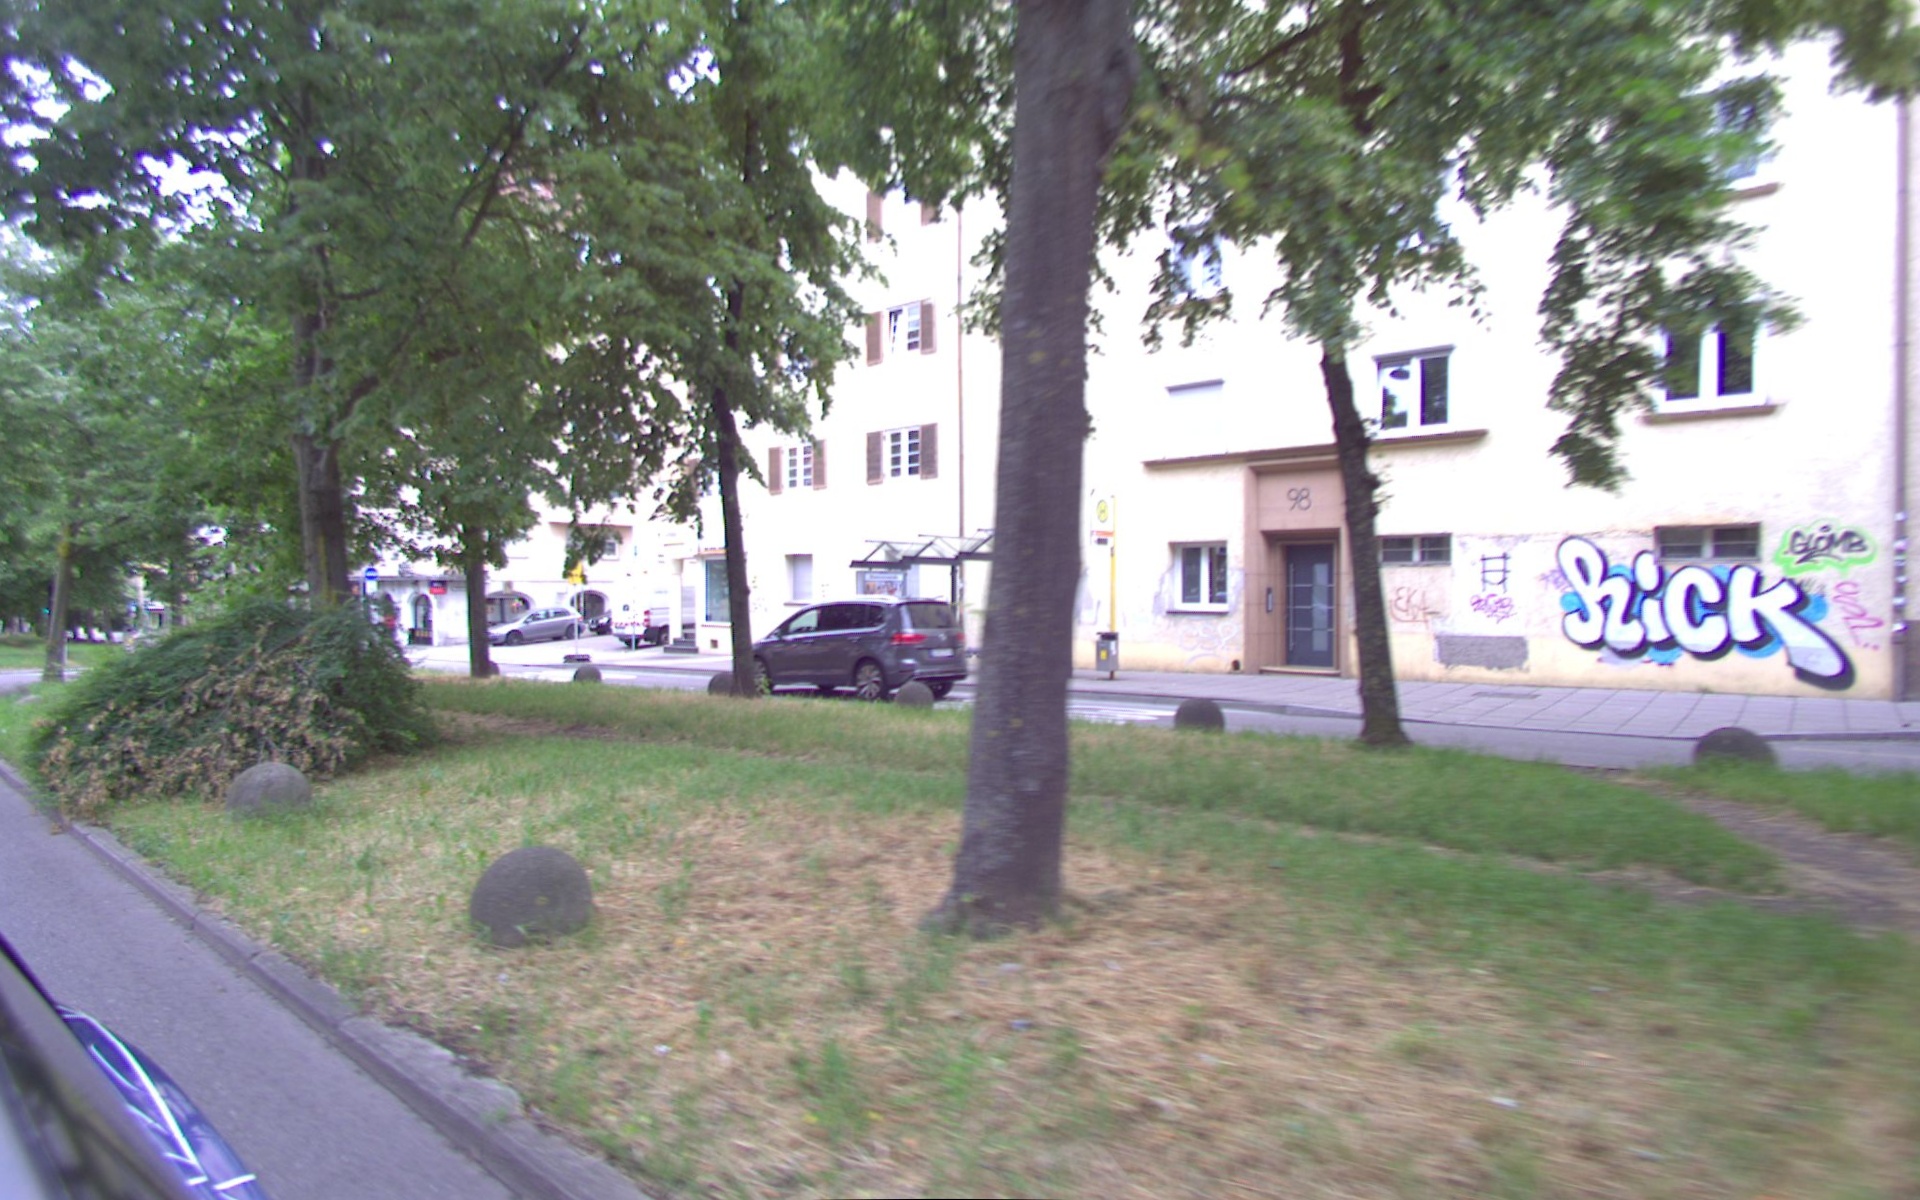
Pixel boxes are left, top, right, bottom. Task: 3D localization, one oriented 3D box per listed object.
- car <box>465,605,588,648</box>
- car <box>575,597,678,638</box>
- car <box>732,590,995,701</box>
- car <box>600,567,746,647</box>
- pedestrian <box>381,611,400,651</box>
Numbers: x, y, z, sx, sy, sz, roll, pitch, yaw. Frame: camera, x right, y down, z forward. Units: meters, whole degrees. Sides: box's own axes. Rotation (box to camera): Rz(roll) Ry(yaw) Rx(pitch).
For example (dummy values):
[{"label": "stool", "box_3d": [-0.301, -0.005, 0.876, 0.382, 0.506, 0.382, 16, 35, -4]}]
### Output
[{"label": "car", "box_3d": [-18.215, 1.097, 42.618, 2.048, 1.430, 4.241, -2, 2, 43]}, {"label": "car", "box_3d": [-15.122, 0.759, 46.070, 1.997, 1.430, 3.951, -1, 4, 38]}, {"label": "car", "box_3d": [-1.714, 0.718, 17.046, 4.362, 1.641, 1.929, -1, -2, 40]}, {"label": "car", "box_3d": [-10.619, 0.198, 37.849, 2.169, 2.757, 5.137, -1, 1, 30]}, {"label": "pedestrian", "box_3d": [-24.603, 1.331, 43.708, 0.701, 1.679, 0.526, -2, -1, 44]}]
